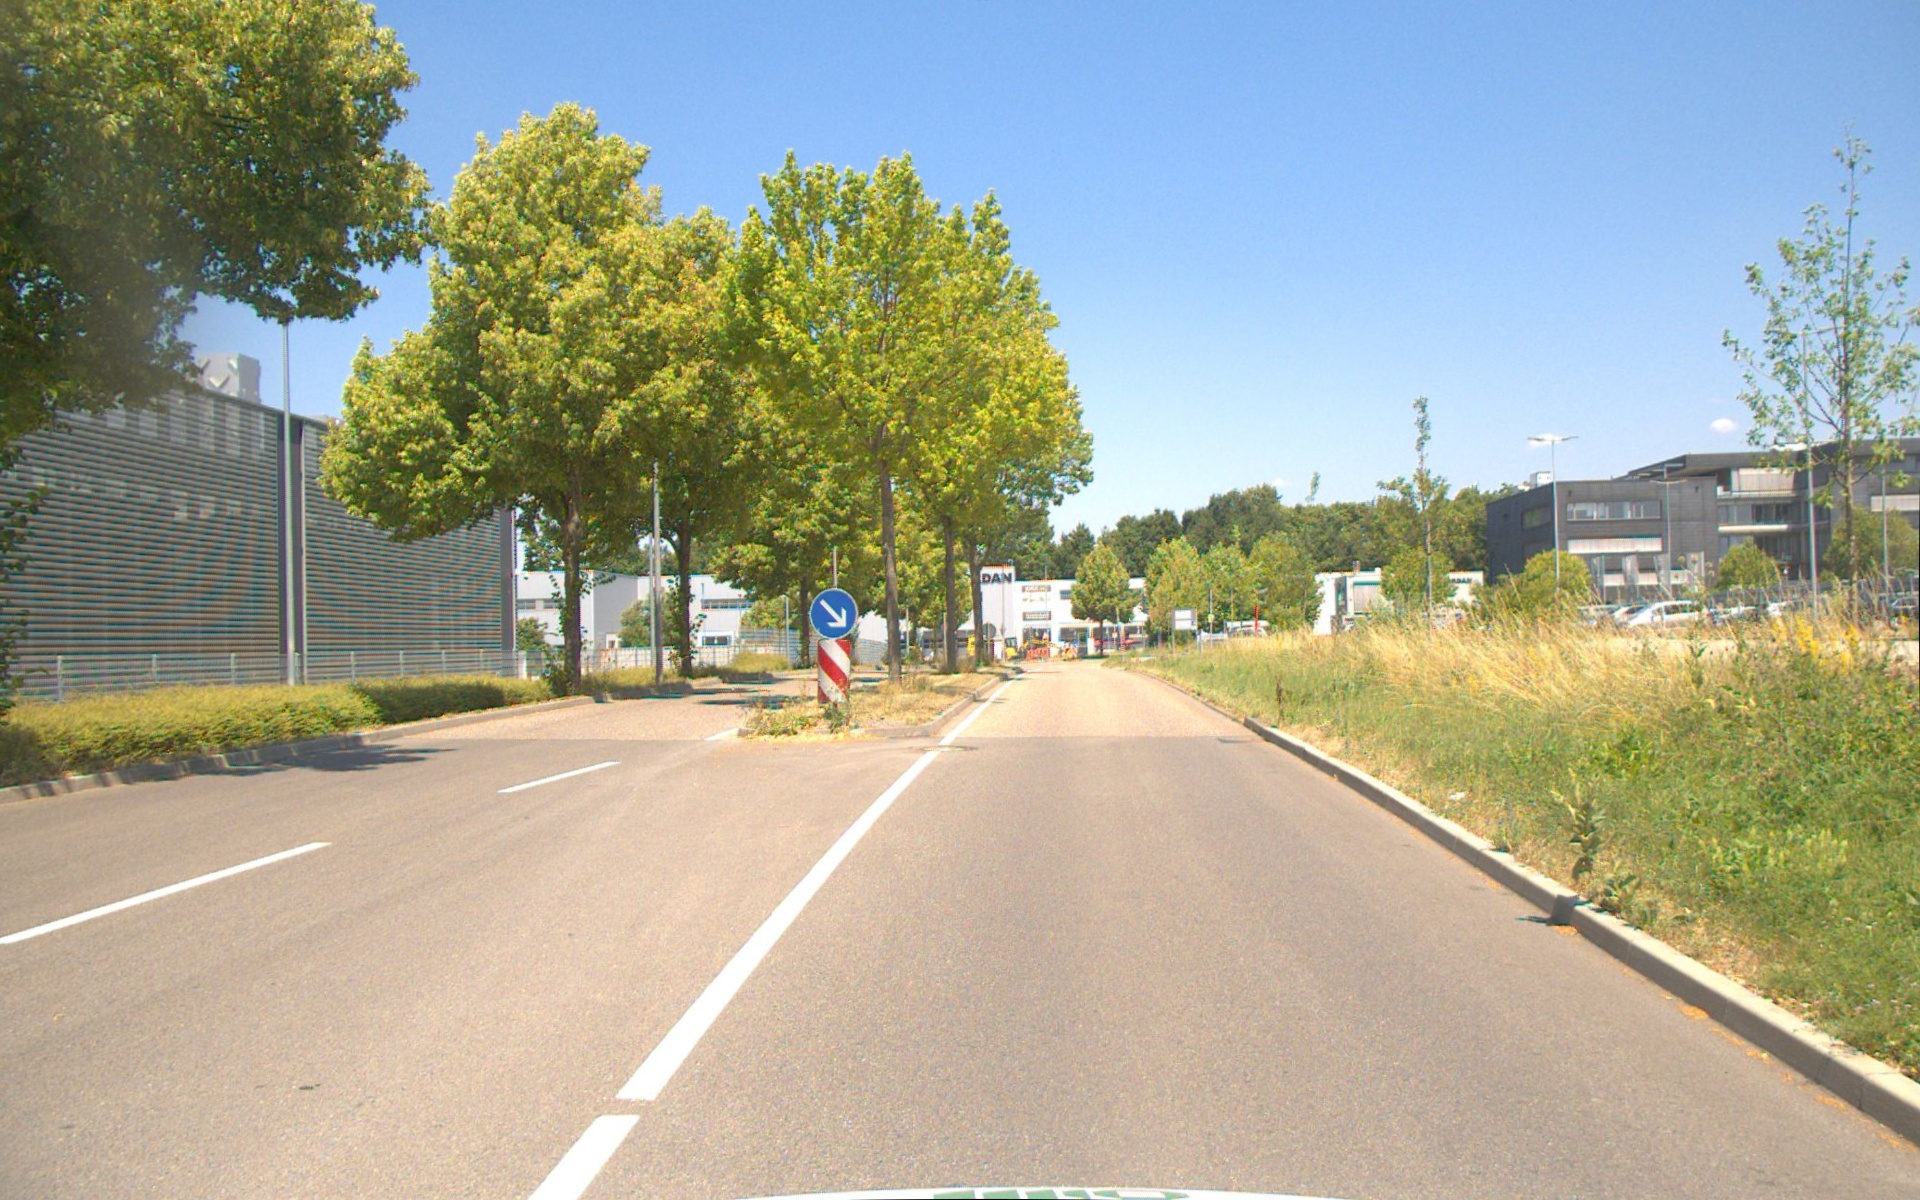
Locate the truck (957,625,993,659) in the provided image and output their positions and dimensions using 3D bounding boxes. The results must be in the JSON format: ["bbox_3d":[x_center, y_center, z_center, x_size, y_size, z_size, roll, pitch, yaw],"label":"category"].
[{"bbox_3d":[1.464,4.084,162.017,2.882,2.936,5.803,-3,1,-5],"label":"truck"}]

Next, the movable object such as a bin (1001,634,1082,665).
[{"bbox_3d":[7.977,4.848,162.192,7.365,2.543,3.670,-3,1,11],"label":"movable object such as a bin"}]

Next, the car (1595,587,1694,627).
[{"bbox_3d":[32.184,0.320,77.827,3.906,1.623,1.769,-3,1,0],"label":"car"}]

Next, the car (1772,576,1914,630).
[{"bbox_3d":[31.067,0.123,58.289,3.904,1.670,1.927,-2,-2,3],"label":"car"}]
